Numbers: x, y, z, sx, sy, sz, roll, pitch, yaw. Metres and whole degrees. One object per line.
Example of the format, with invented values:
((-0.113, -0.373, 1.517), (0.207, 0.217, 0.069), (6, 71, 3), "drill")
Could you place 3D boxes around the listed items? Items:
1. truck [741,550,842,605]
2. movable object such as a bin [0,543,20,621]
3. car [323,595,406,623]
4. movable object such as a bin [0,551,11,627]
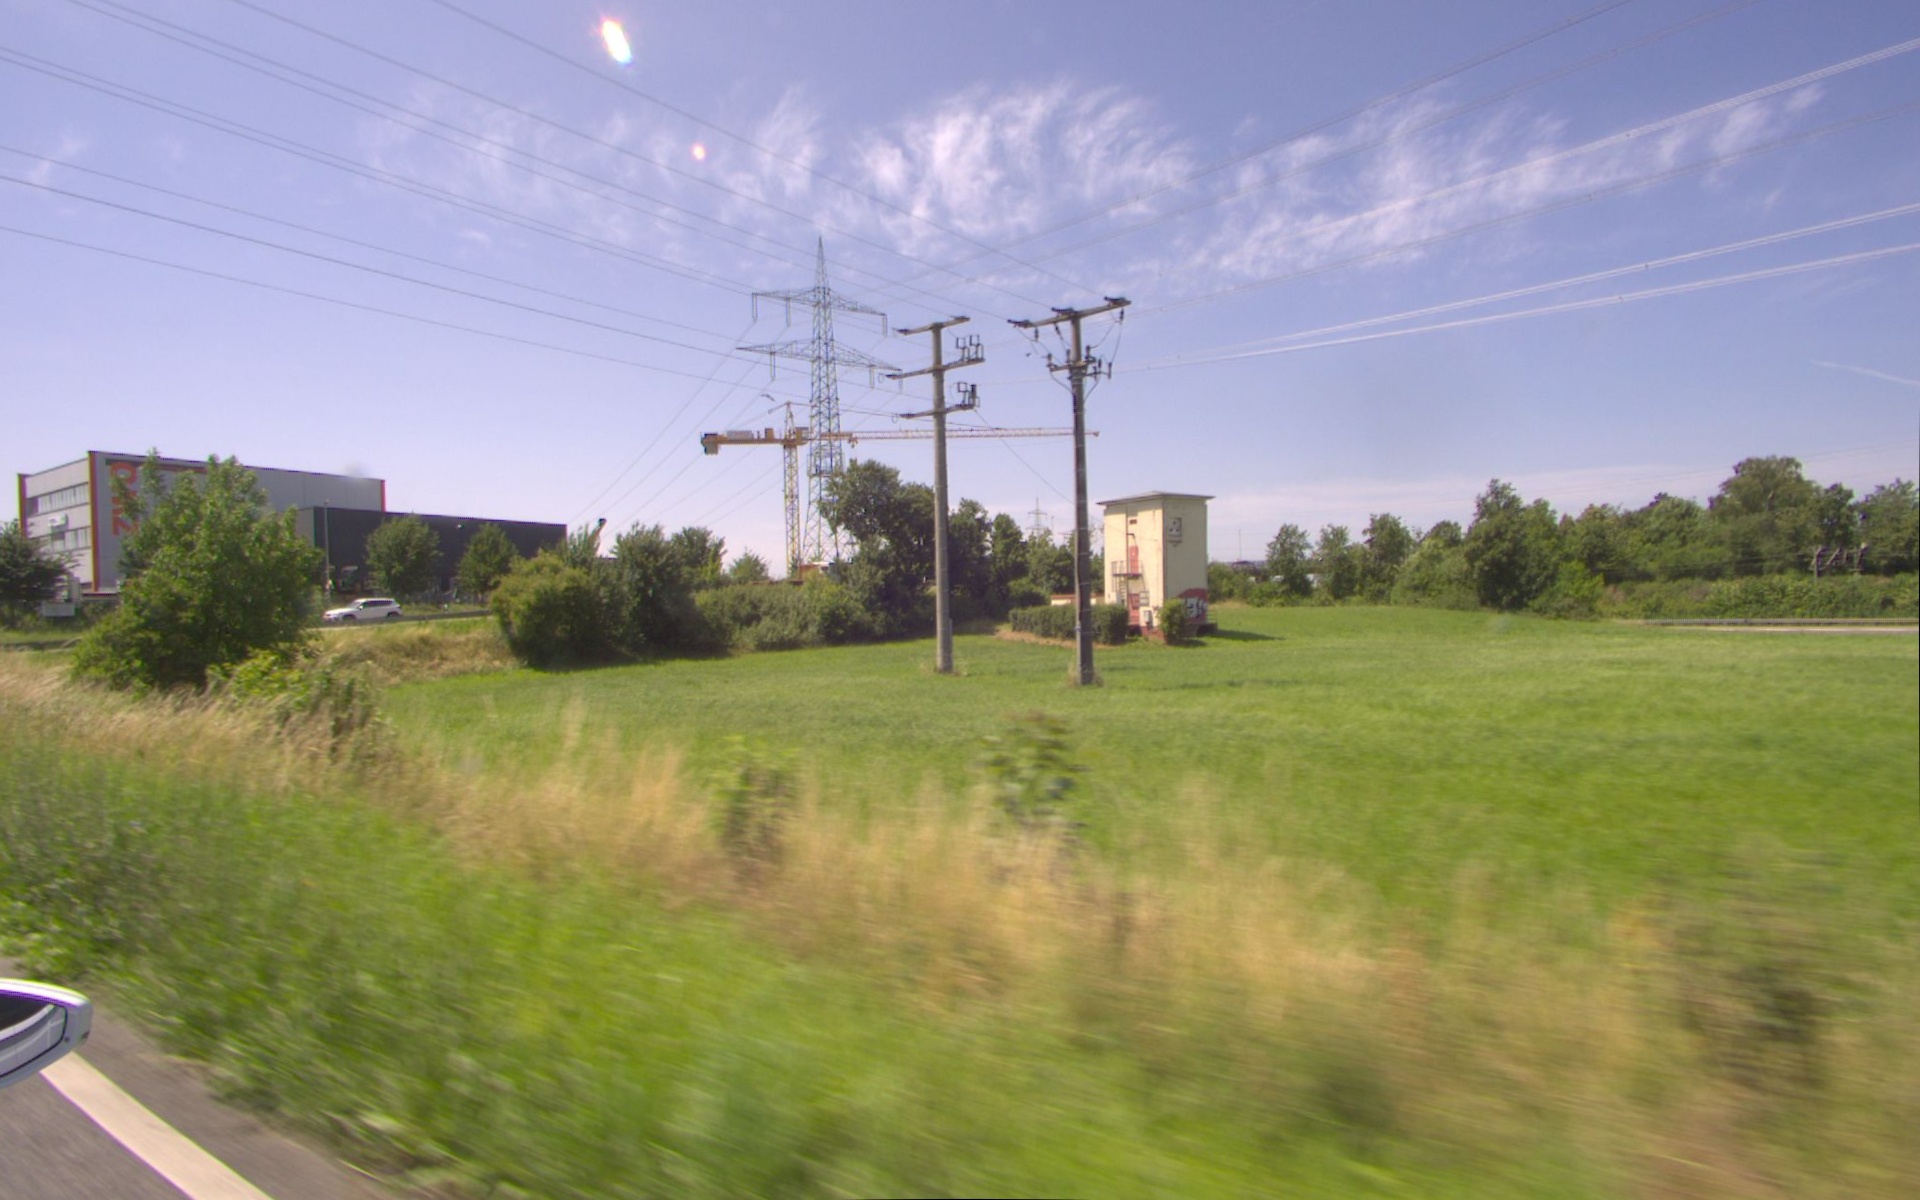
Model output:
((-14.751, -1.836, 88.698), (3.269, 4.234, 9.655), (-3, -3, 31), "truck")
((-67.408, -1.234, 67.120), (3.066, 5.168, 5.907), (-3, -2, 33), "movable object such as a bin")
((-37.190, 0.532, 62.643), (1.733, 1.644, 4.074), (1, 2, 32), "car")
((-70.603, -0.792, 69.253), (3.754, 5.211, 6.578), (-3, -2, 33), "movable object such as a bin")
